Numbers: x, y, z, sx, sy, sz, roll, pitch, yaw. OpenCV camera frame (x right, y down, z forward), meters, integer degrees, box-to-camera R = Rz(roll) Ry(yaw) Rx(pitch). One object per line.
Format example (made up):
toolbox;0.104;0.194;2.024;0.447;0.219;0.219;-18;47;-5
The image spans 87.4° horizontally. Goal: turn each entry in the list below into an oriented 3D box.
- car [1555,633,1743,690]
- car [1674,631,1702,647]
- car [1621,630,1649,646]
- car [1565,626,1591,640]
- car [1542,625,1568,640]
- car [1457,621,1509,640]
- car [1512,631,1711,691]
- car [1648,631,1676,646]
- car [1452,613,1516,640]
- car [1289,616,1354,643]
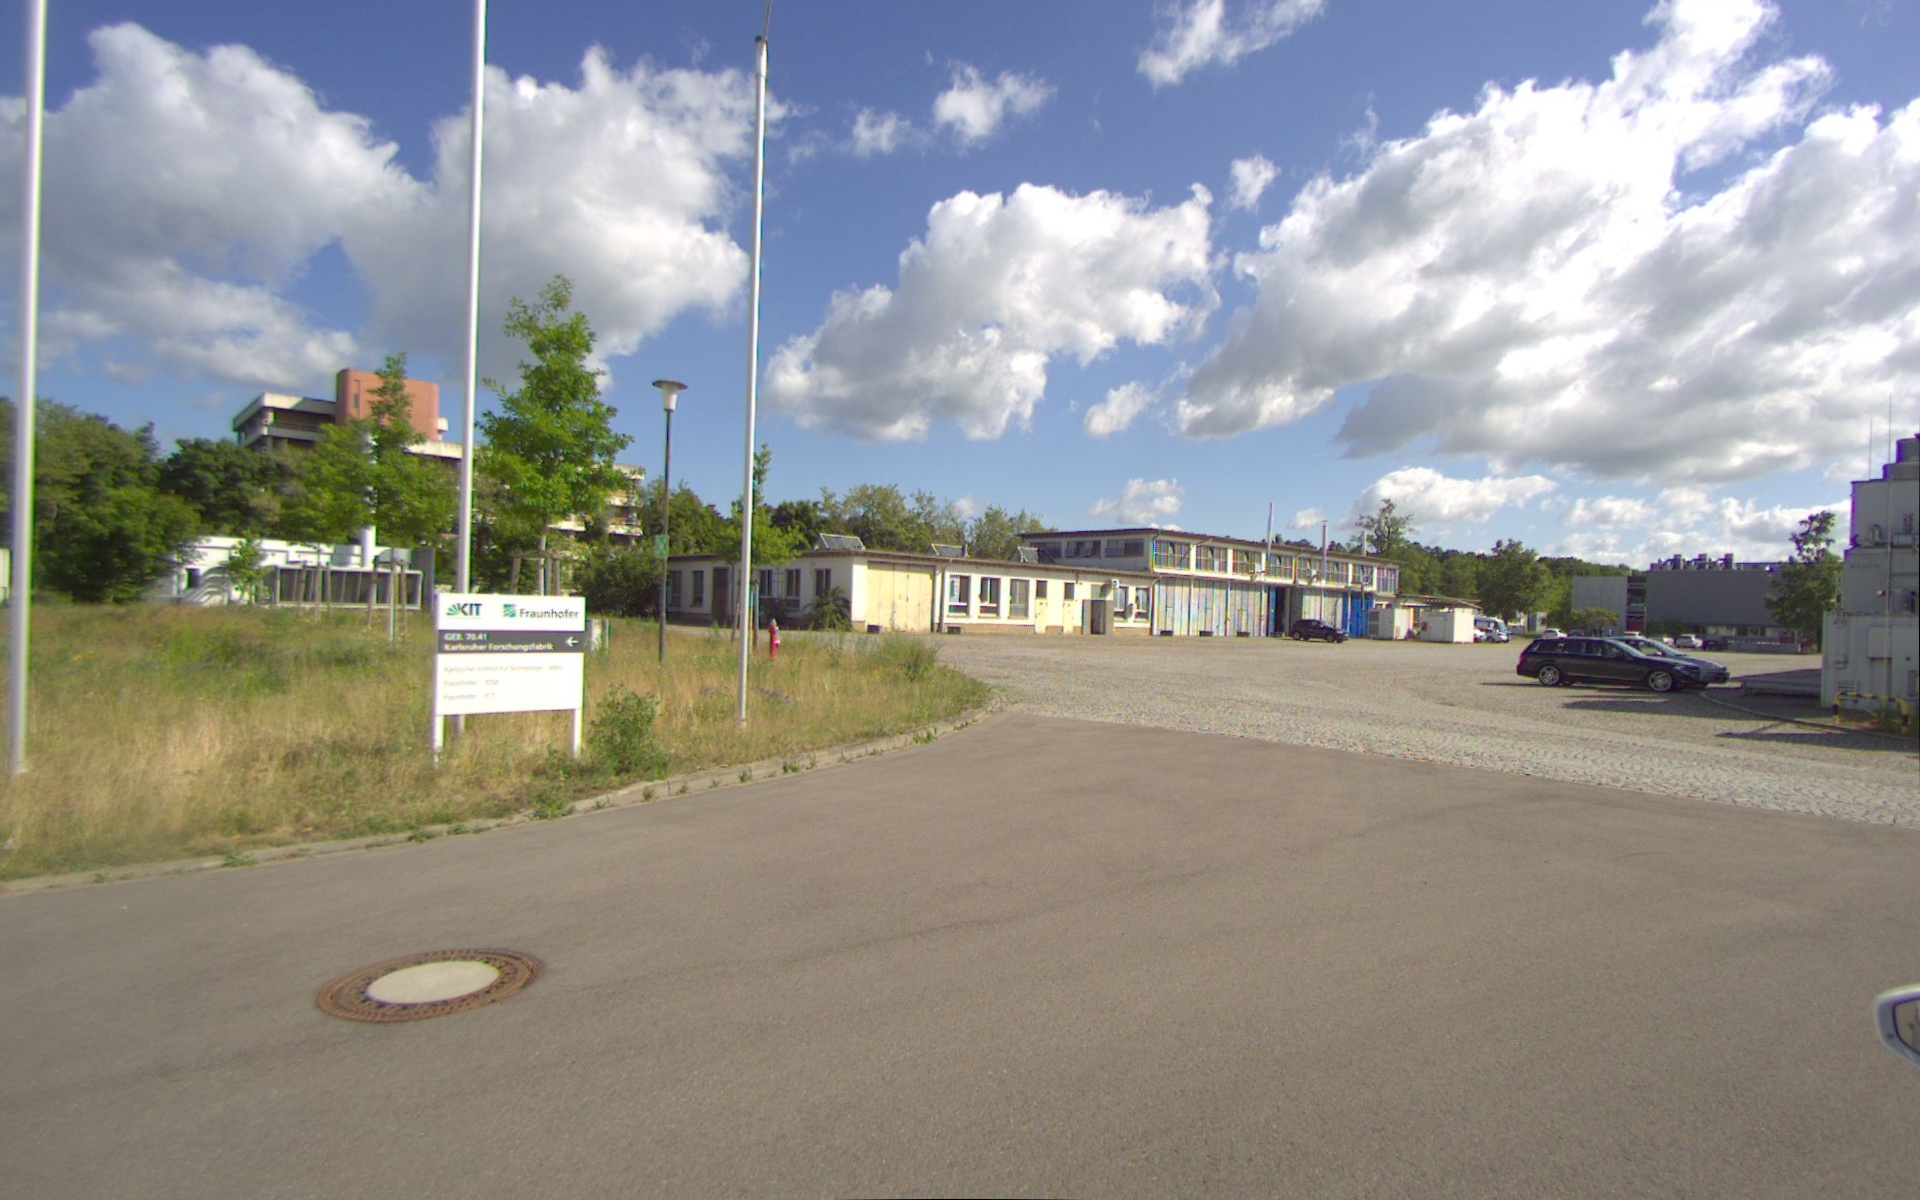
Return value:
car;21.285;1.881;31.150;1.890;1.462;4.488;4;-2;-42
car;77.861;4.173;107.392;1.858;1.557;4.011;-1;-3;45
car;74.564;4.178;110.949;1.858;1.711;4.011;-1;-3;45
car;70.699;3.785;114.893;1.857;1.557;4.014;-1;-3;42
car;69.157;3.765;116.782;1.826;1.690;4.111;-1;-3;42
car;50.914;2.995;97.805;1.792;1.652;4.078;2;0;-38
car;18.780;1.735;29.104;1.973;1.462;4.488;4;-2;-42
car;76.157;4.205;108.954;1.858;1.557;4.011;-1;-3;45
car;52.399;2.621;100.534;2.032;2.474;5.217;2;0;-38
car;26.904;2.178;74.872;1.772;1.688;4.121;3;1;-44
